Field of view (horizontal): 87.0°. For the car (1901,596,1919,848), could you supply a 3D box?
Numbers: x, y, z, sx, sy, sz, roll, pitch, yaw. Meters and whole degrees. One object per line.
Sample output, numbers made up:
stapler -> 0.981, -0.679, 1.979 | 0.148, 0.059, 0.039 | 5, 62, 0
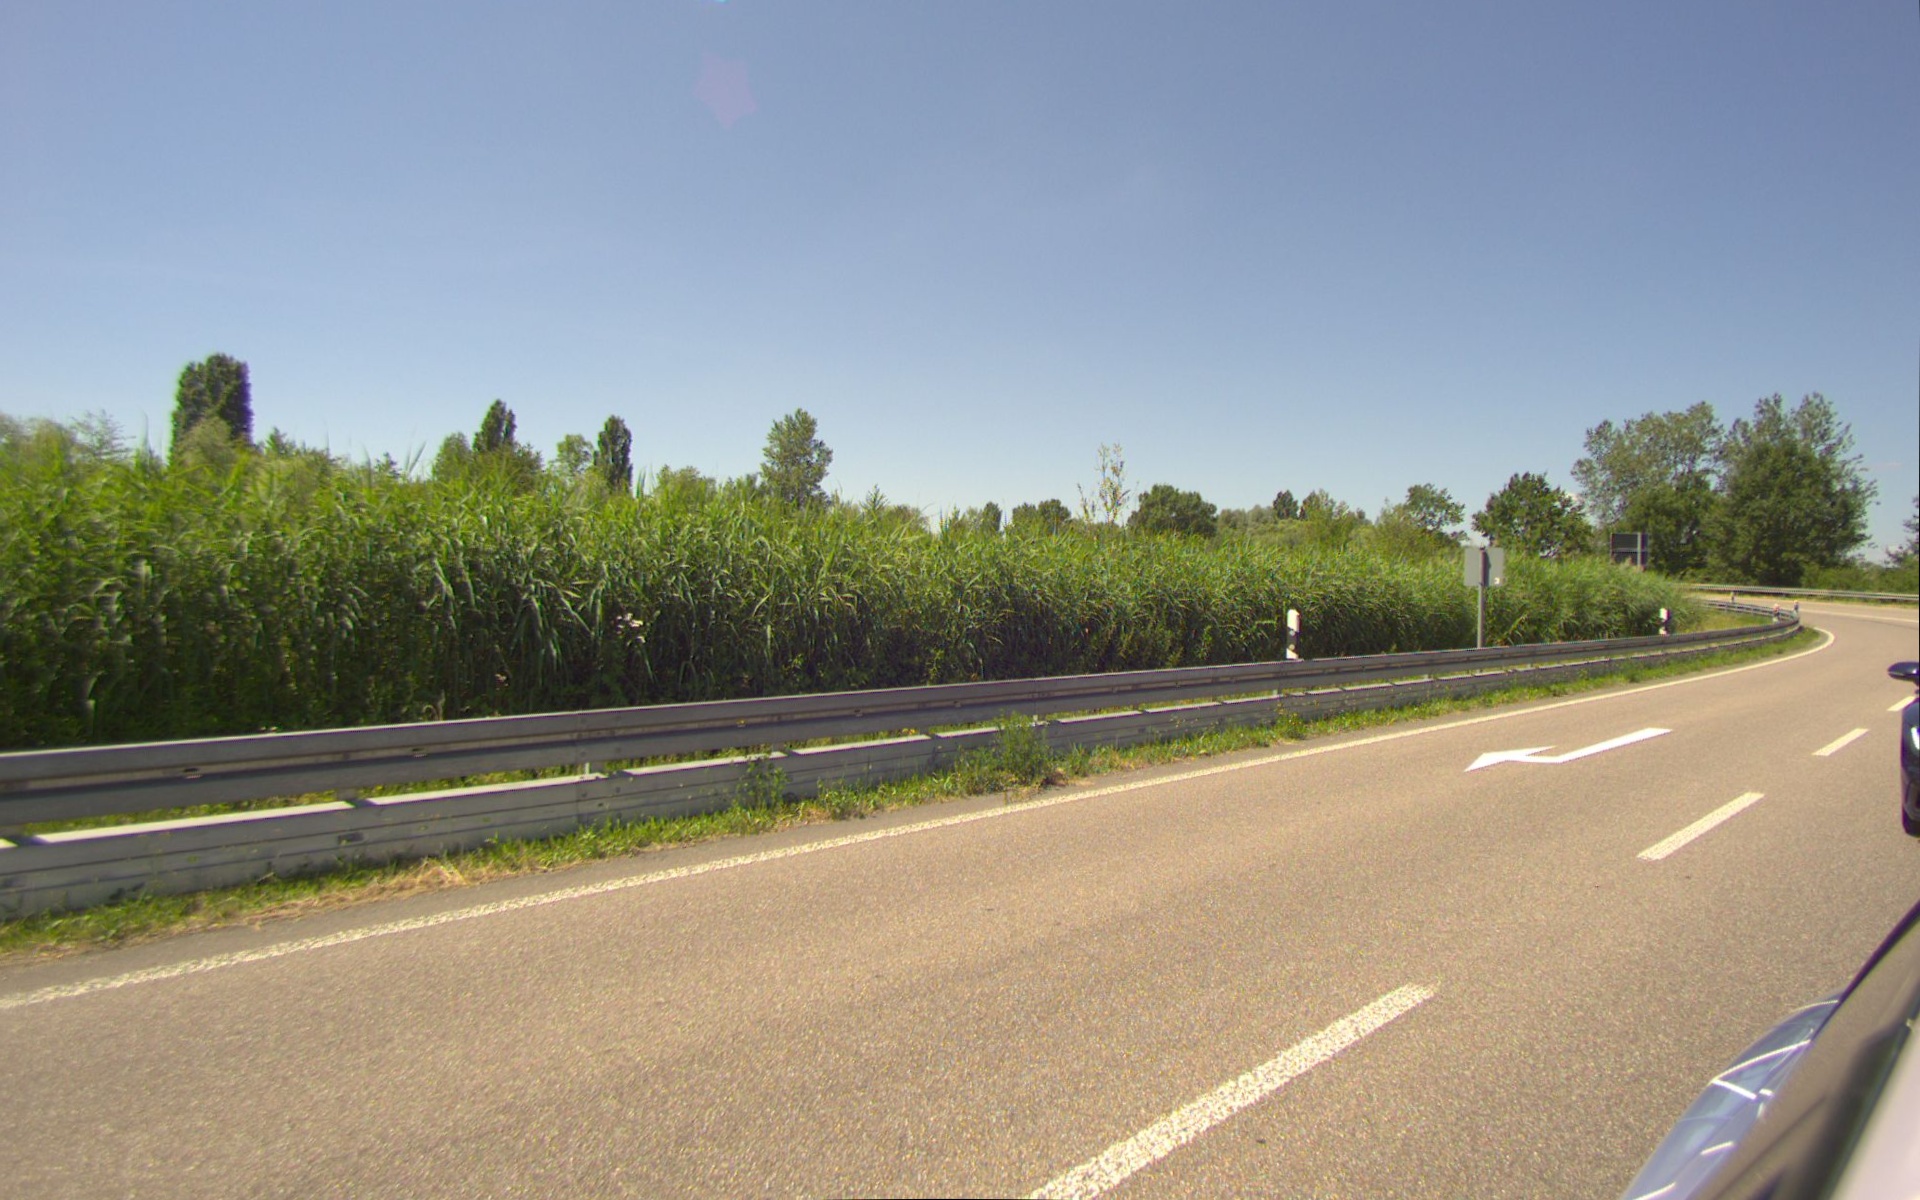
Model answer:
car -> 7.460, 0.685, 6.455 | 3.931, 1.427, 1.759 | -1, 1, -41
